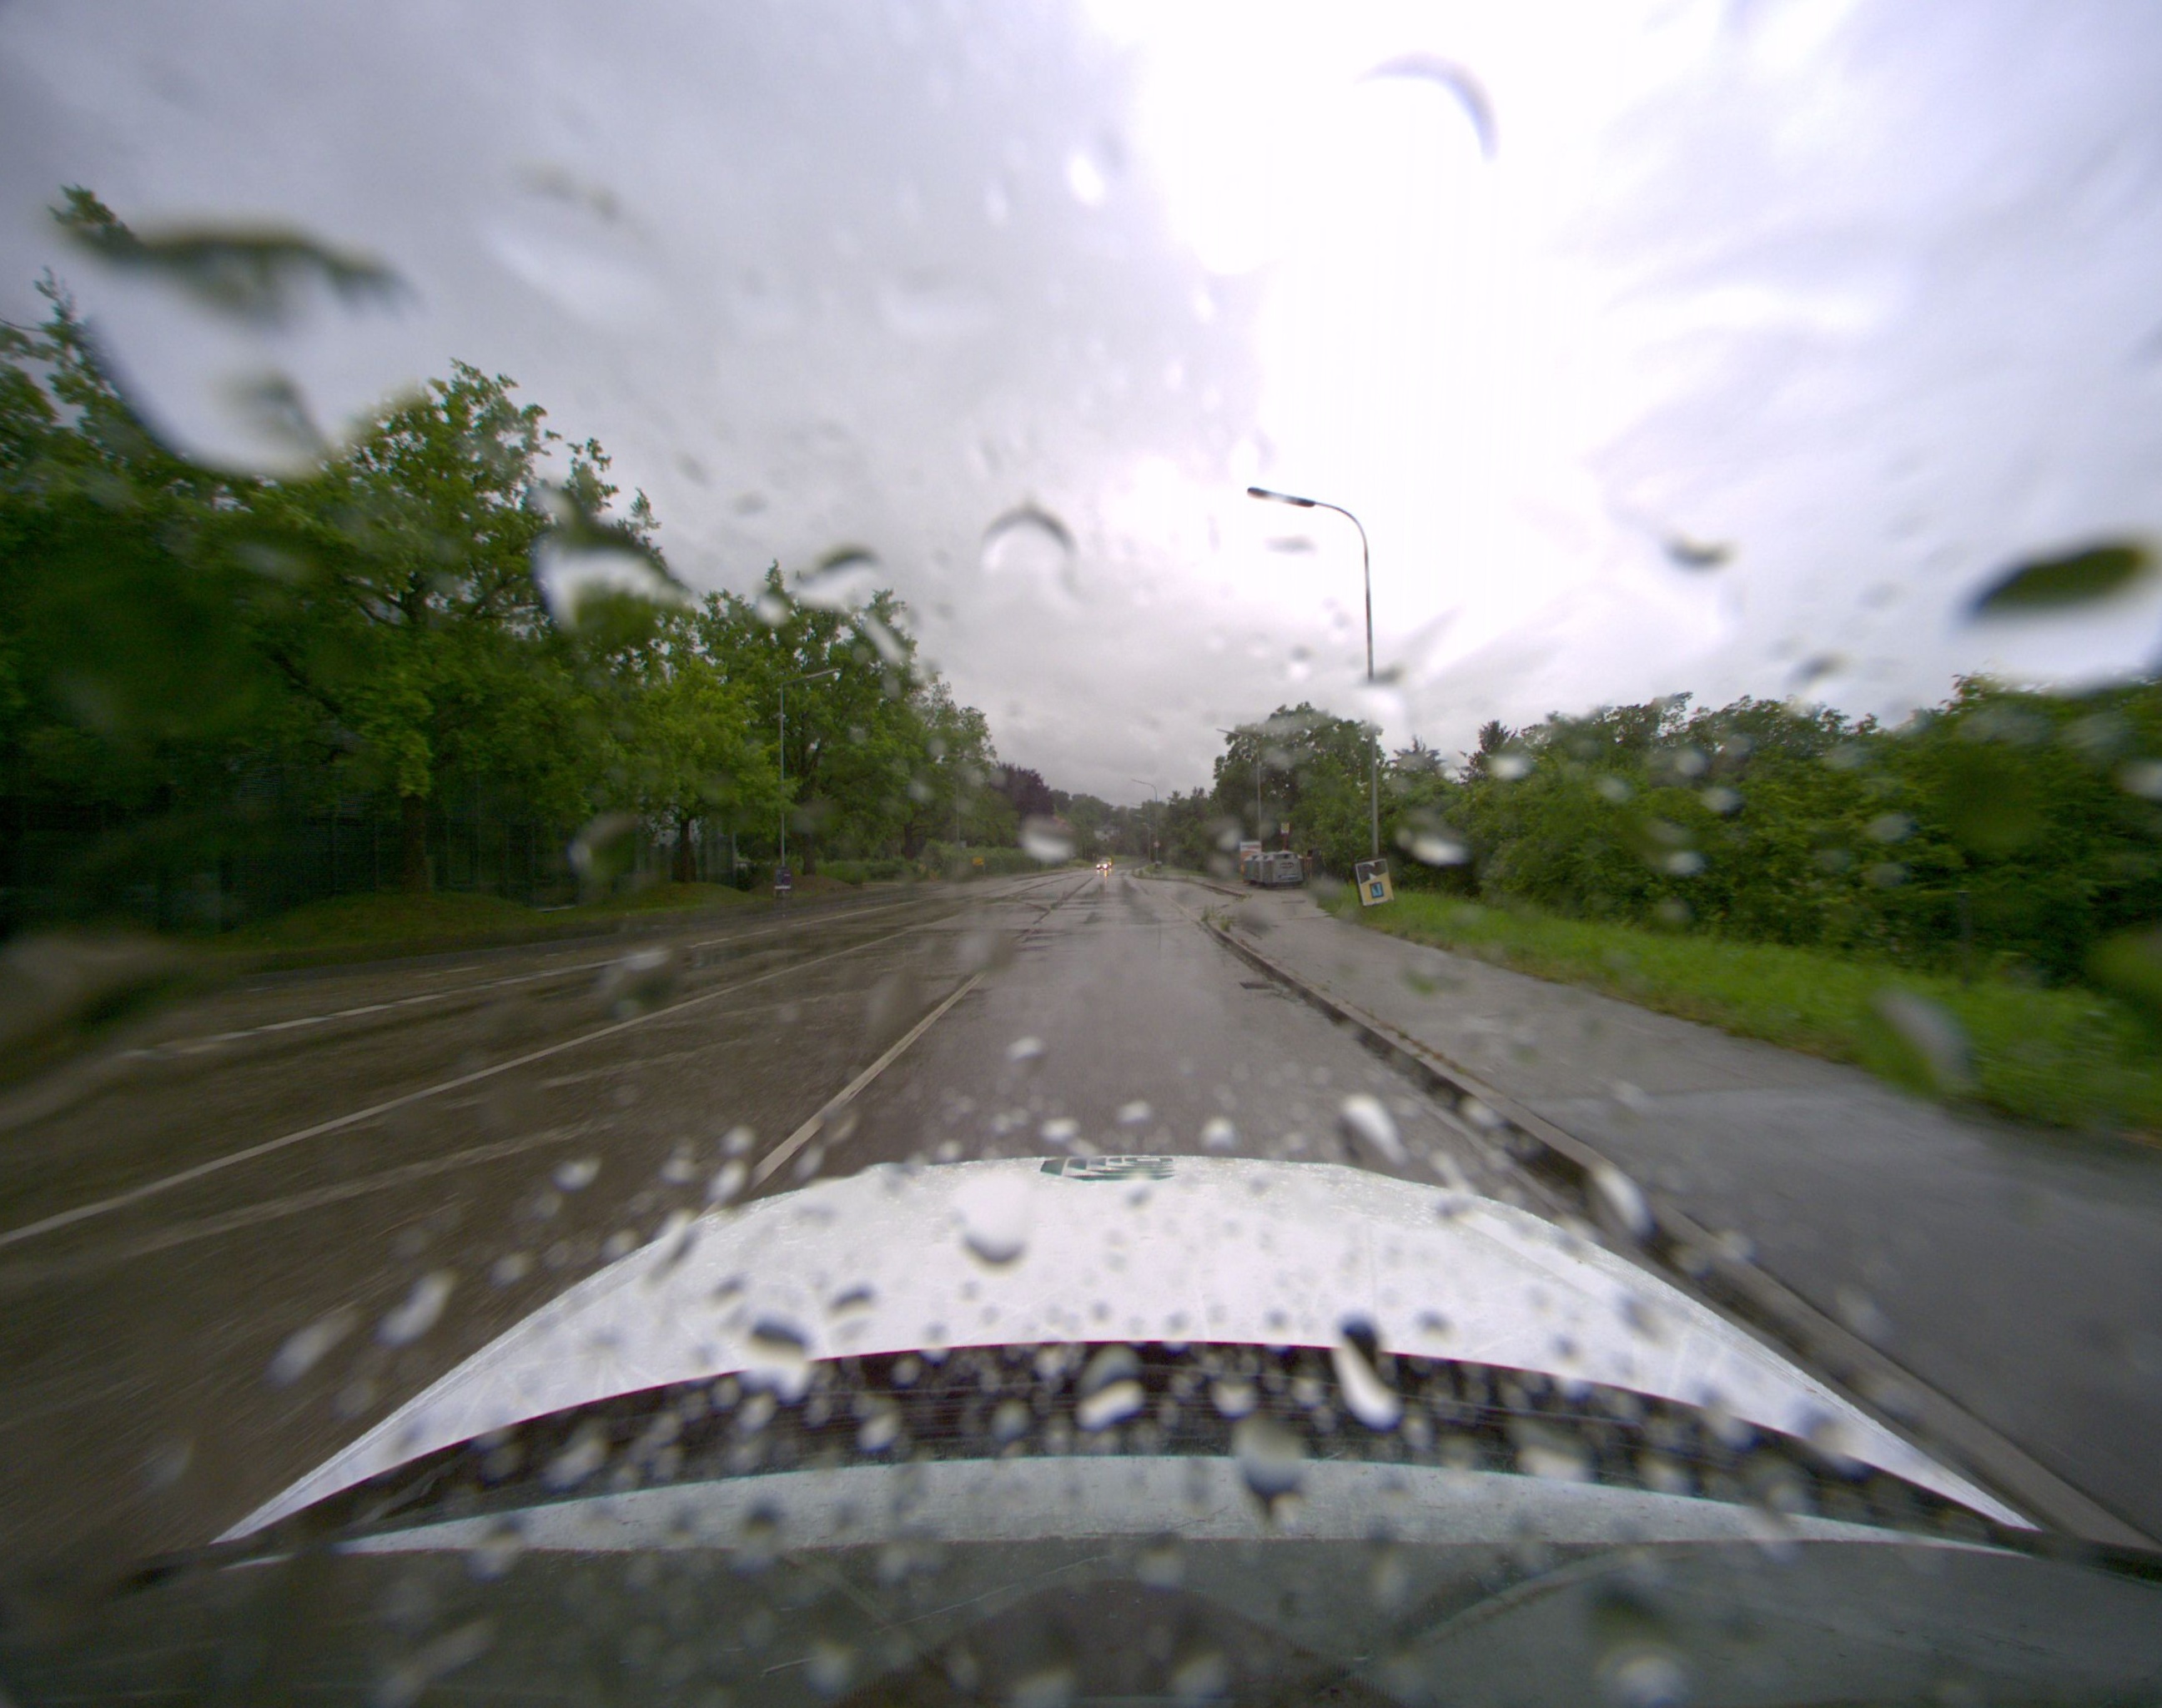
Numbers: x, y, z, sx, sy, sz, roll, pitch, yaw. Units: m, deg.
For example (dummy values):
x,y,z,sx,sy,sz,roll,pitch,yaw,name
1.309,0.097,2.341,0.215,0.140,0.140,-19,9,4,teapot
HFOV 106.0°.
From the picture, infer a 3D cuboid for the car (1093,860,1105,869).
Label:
x,y,z,sx,sy,sz,roll,pitch,yaw,name
2.834,1.675,129.359,1.694,1.349,3.909,-1,0,3,car
